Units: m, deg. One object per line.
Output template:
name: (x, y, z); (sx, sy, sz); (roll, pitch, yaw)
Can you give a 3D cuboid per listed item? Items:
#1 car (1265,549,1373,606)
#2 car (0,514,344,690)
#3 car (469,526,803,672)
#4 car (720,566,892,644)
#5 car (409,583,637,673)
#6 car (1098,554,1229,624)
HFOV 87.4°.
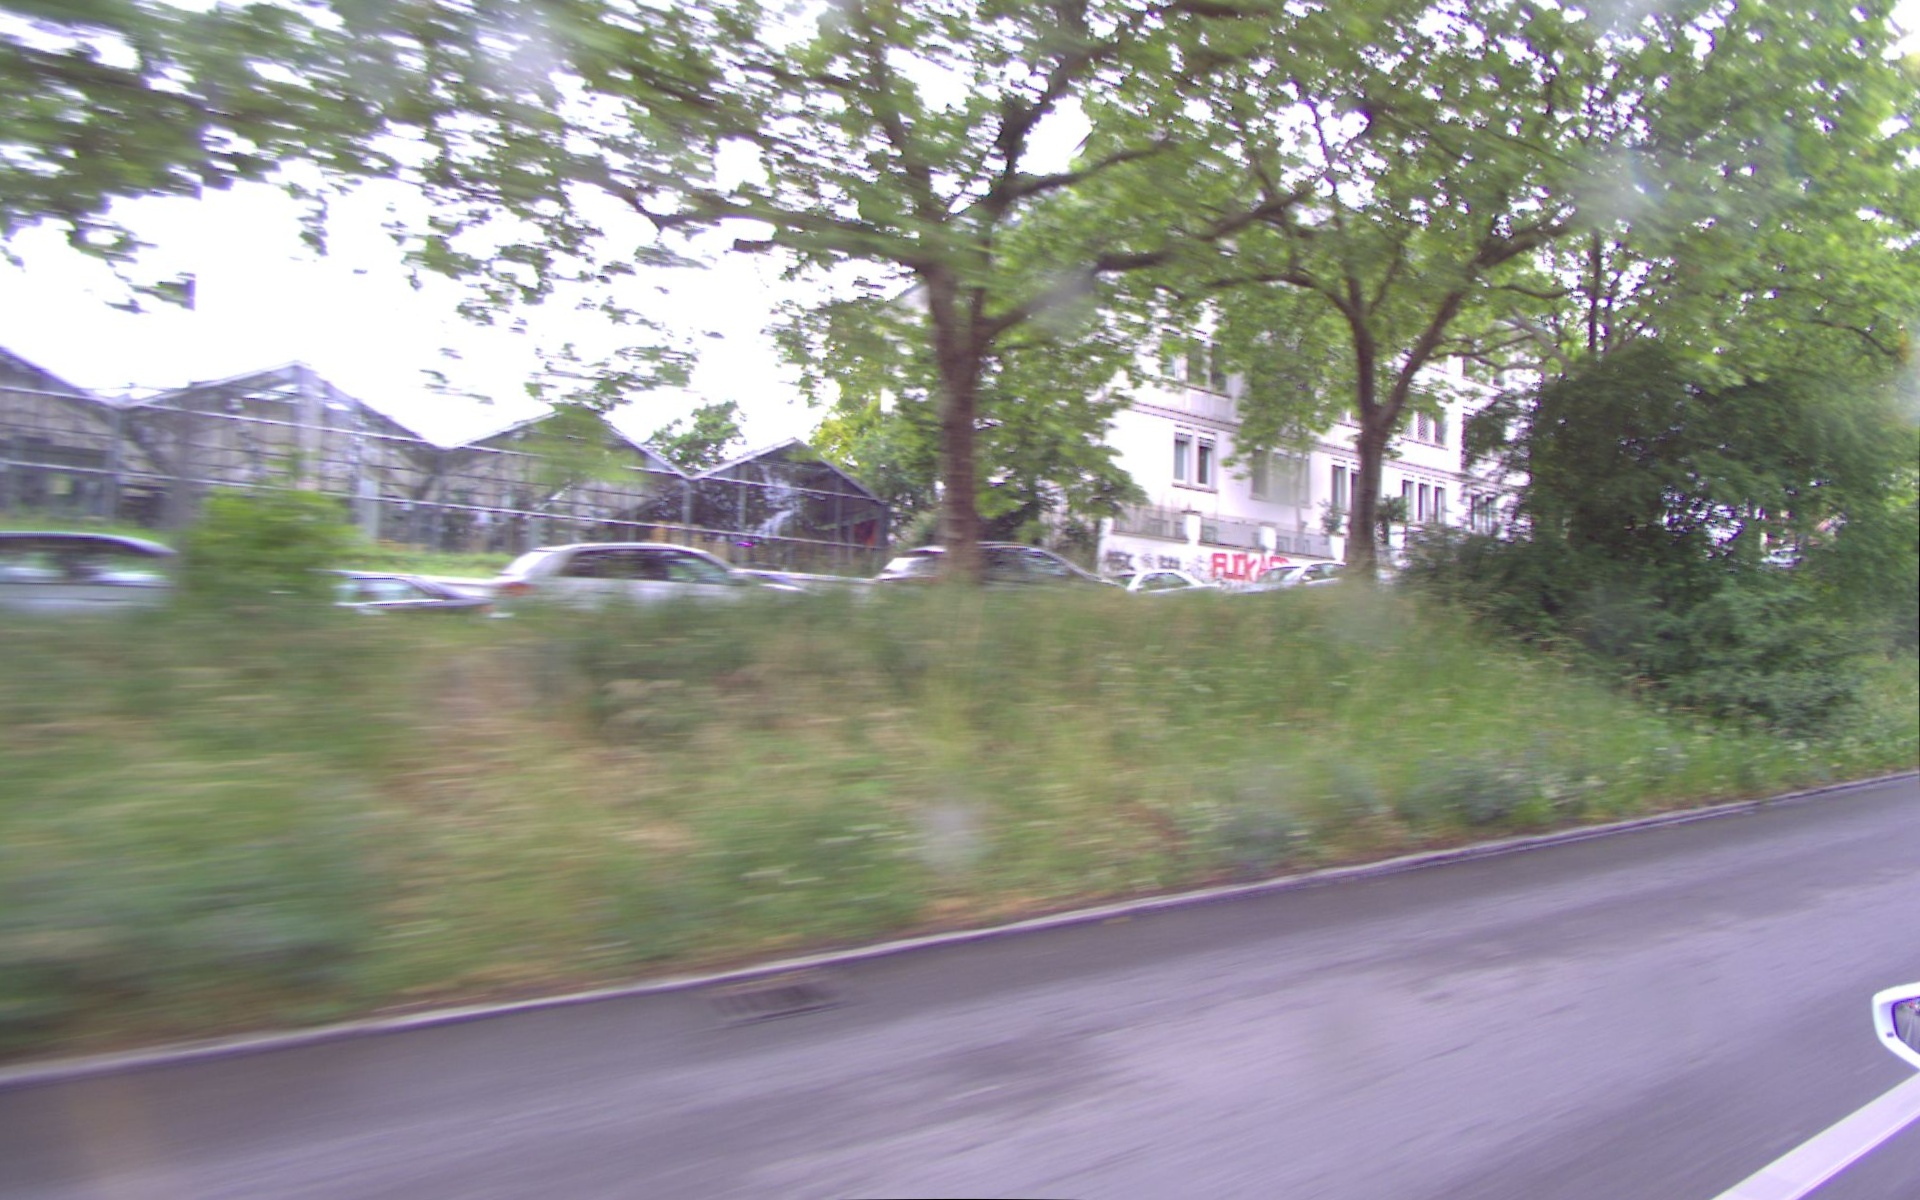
car: (10.104, -0.603, 28.209); (2.984, 1.315, 1.374); (4, -4, -34)
car: (-7.792, 0.072, 9.371); (3.409, 1.422, 1.693); (4, -4, -33)
car: (-3.793, 0.080, 11.878); (3.409, 1.422, 1.693); (4, -4, -33)
car: (-3.020, 0.152, 19.836); (3.051, 1.326, 1.354); (4, -4, -30)
car: (-7.272, 0.511, 16.800); (3.270, 1.307, 1.455); (4, -4, -33)
car: (5.062, -0.235, 24.898); (3.019, 1.476, 1.427); (4, -4, -31)
